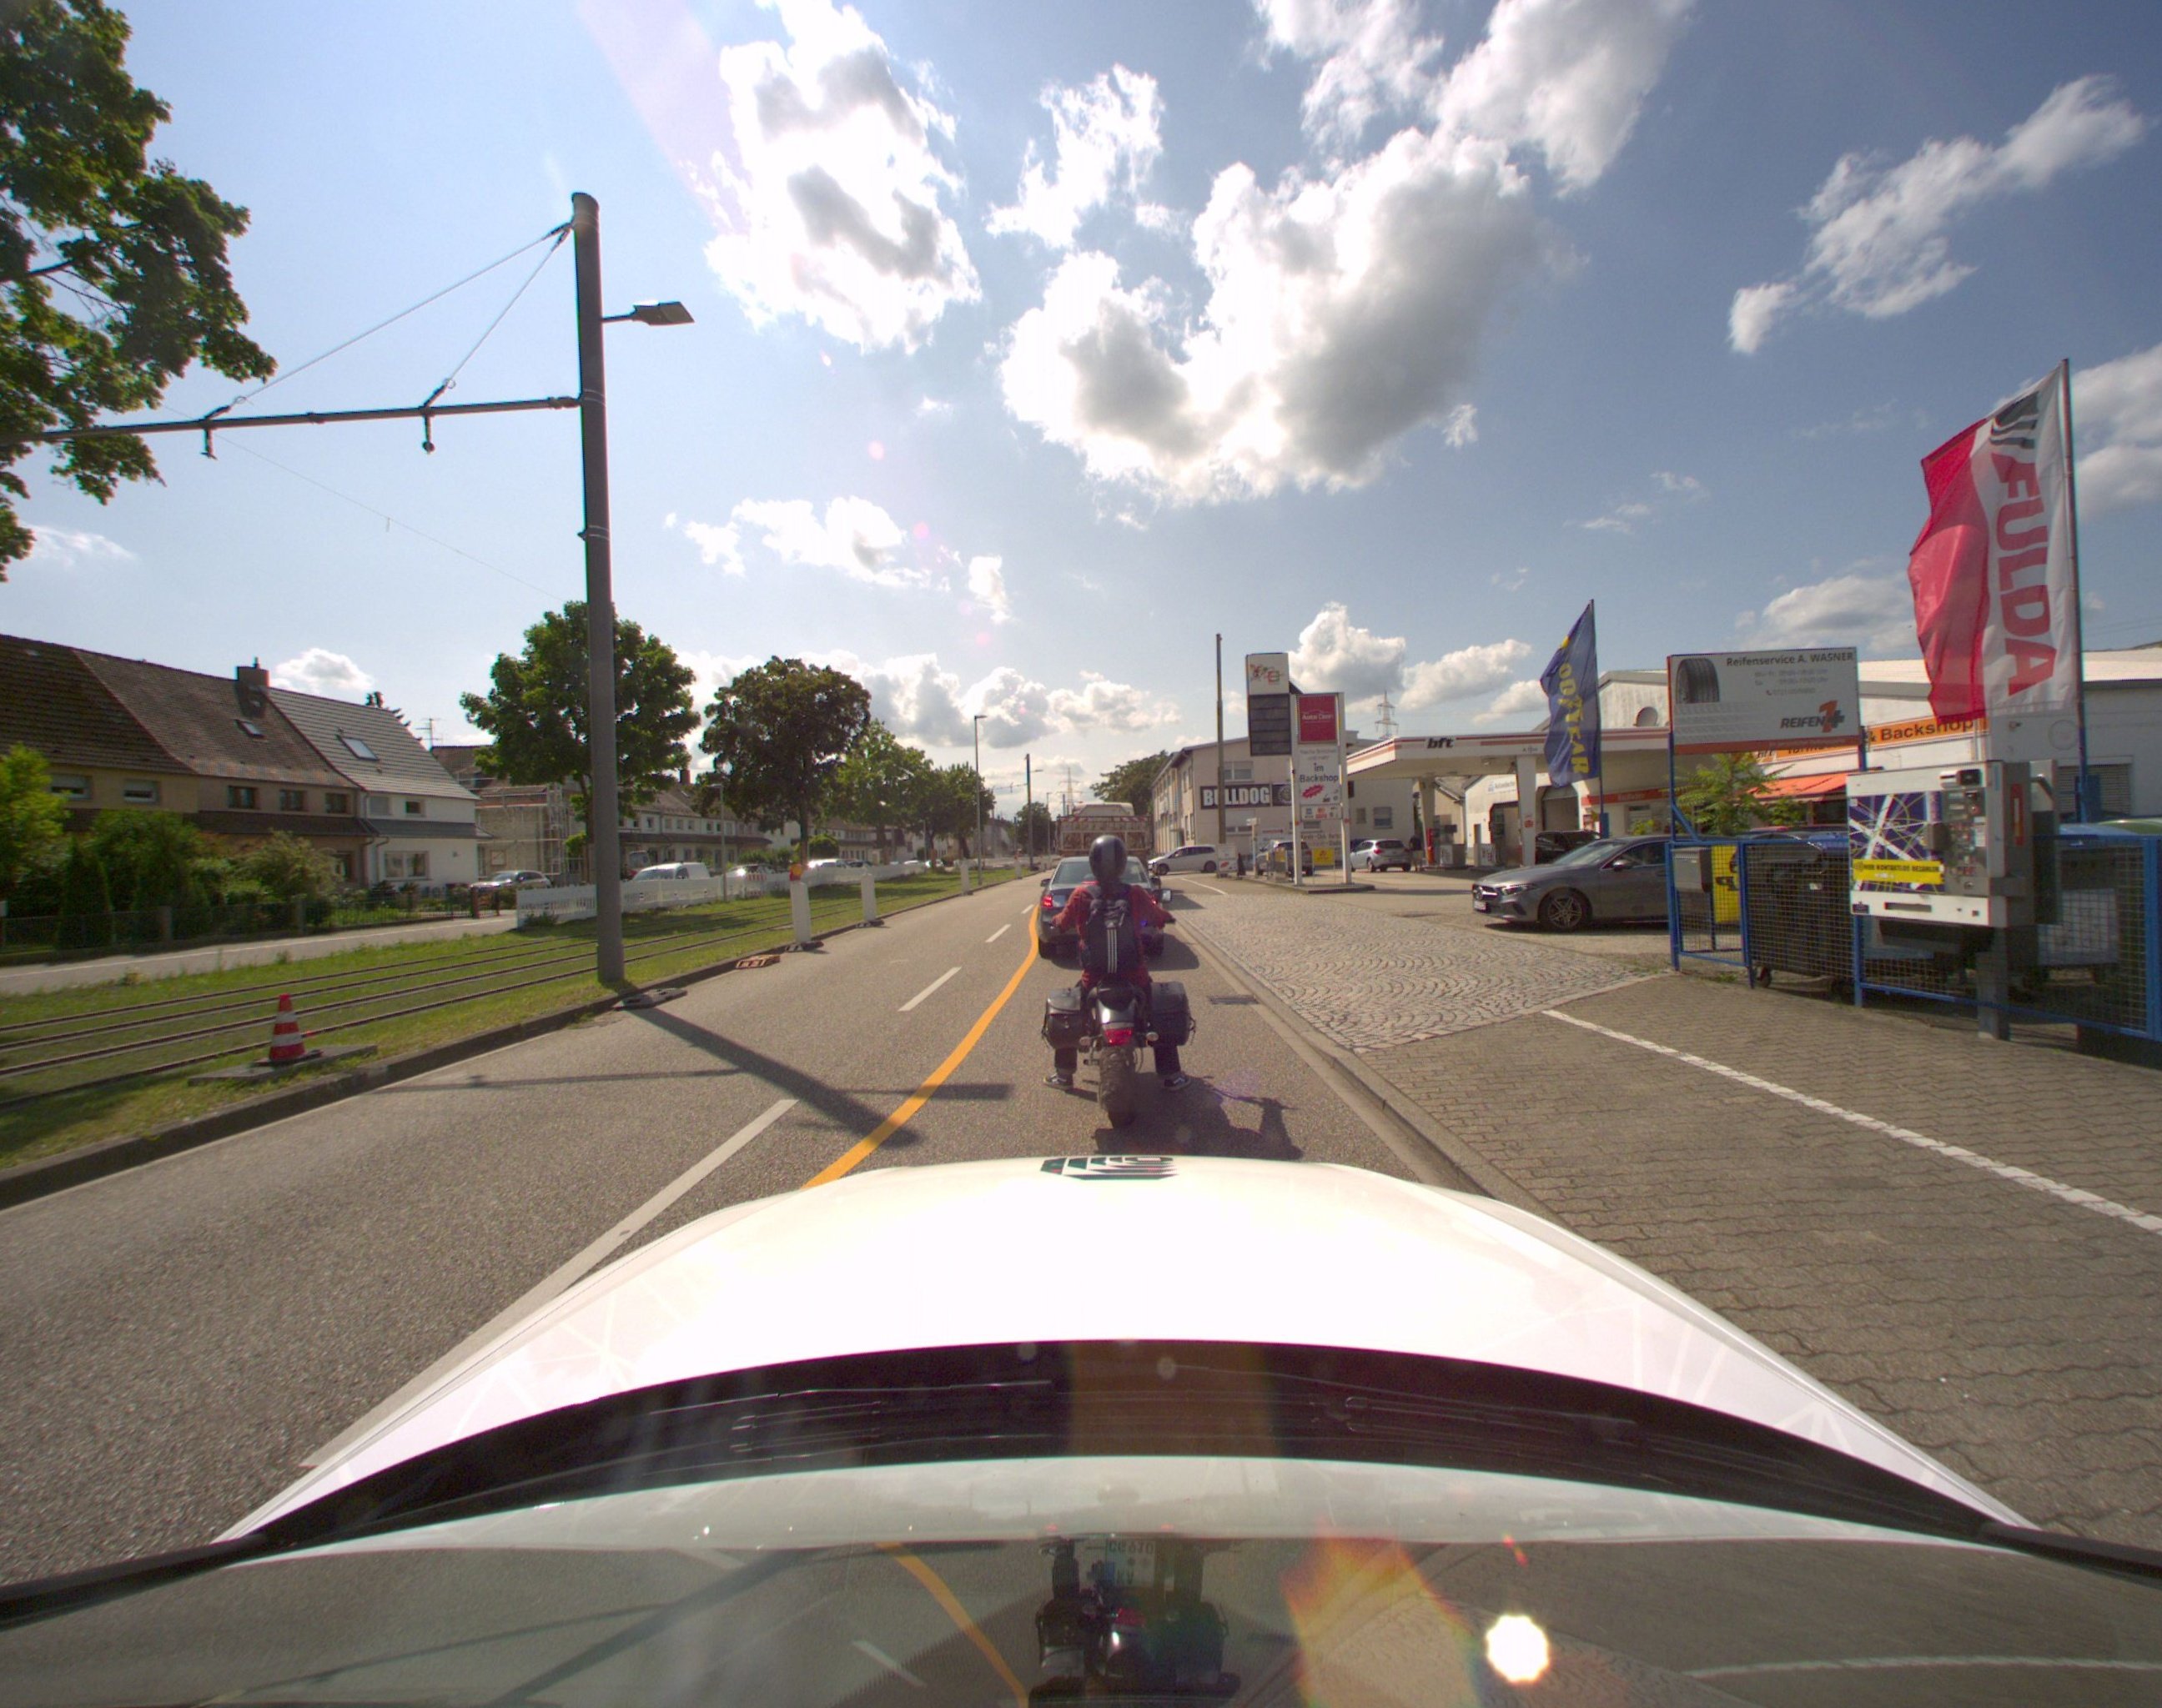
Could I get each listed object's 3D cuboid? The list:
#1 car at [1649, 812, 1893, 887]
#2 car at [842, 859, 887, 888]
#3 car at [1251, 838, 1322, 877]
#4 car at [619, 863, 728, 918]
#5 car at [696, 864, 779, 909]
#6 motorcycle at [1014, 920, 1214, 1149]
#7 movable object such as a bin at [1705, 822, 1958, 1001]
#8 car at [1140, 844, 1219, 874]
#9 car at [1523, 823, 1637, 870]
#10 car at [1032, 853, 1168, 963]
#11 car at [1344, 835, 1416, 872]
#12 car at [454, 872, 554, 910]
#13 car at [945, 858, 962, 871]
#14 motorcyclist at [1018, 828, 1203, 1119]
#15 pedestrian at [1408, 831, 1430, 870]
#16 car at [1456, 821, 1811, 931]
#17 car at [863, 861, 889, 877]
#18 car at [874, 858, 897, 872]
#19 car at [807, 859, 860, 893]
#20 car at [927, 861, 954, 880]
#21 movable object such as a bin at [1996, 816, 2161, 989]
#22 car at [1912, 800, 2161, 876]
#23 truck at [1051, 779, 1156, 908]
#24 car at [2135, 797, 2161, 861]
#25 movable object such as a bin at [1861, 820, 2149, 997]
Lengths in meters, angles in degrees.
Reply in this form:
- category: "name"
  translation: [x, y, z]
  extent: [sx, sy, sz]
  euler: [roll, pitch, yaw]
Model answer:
- category: "car"
  translation: [15.773, -0.100, 18.766]
  extent: [4.180, 1.463, 1.587]
  euler: [-2, 0, 2]
- category: "car"
  translation: [-14.815, 1.322, 56.040]
  extent: [1.769, 1.805, 4.130]
  euler: [-2, 0, 2]
- category: "car"
  translation: [9.111, 0.135, 36.460]
  extent: [1.665, 1.562, 4.235]
  euler: [-2, 0, -6]
- category: "car"
  translation: [-15.440, 1.311, 31.157]
  extent: [1.769, 1.821, 4.366]
  euler: [-2, 0, 2]
- category: "car"
  translation: [-15.413, 1.391, 36.800]
  extent: [1.769, 1.774, 4.230]
  euler: [-2, 0, 2]
- category: "motorcycle"
  translation: [0.207, 1.023, 5.450]
  extent: [0.975, 0.897, 2.654]
  euler: [-2, 0, 2]
- category: "movable object such as a bin"
  translation: [6.691, 0.473, 7.365]
  extent: [1.104, 1.436, 1.244]
  euler: [-2, 0, 1]
- category: "car"
  translation: [5.649, 0.275, 47.073]
  extent: [4.225, 1.543, 1.669]
  euler: [-3, 0, -7]
- category: "car"
  translation: [18.115, -0.263, 29.794]
  extent: [1.800, 1.503, 3.833]
  euler: [-2, 0, 0]
- category: "car"
  translation: [0.315, 0.731, 12.945]
  extent: [1.816, 1.452, 4.002]
  euler: [0, 0, 2]
- category: "car"
  translation: [13.471, -0.025, 36.928]
  extent: [1.800, 1.503, 3.832]
  euler: [-2, 0, -1]
- category: "car"
  translation: [-27.443, 1.723, 38.893]
  extent: [1.769, 1.519, 4.002]
  euler: [-2, 0, 2]
- category: "car"
  translation: [-19.661, 1.601, 125.917]
  extent: [1.769, 1.722, 4.130]
  euler: [-2, 0, 2]
- category: "motorcyclist"
  translation: [0.182, 0.674, 5.146]
  extent: [0.975, 1.602, 1.088]
  euler: [-2, 0, 1]
- category: "pedestrian"
  translation: [14.647, -0.148, 35.327]
  extent: [0.701, 1.656, 0.551]
  euler: [-2, 0, 37]
- category: "car"
  translation: [8.342, 0.324, 12.617]
  extent: [4.252, 1.415, 1.676]
  euler: [-2, 0, 5]
- category: "car"
  translation: [-24.409, 1.816, 97.041]
  extent: [1.769, 1.722, 4.130]
  euler: [-2, 0, 2]
- category: "car"
  translation: [-25.183, 1.376, 105.202]
  extent: [1.769, 1.722, 4.130]
  euler: [-2, 0, 2]
- category: "car"
  translation: [-15.073, 1.317, 49.862]
  extent: [1.769, 1.867, 4.130]
  euler: [-2, 0, 2]
- category: "car"
  translation: [-13.763, 1.613, 79.996]
  extent: [1.769, 1.722, 4.130]
  euler: [-2, 0, 2]
- category: "movable object such as a bin"
  translation: [9.488, 0.368, 7.138]
  extent: [1.397, 1.396, 1.338]
  euler: [-2, 0, 1]
- category: "car"
  translation: [21.521, -0.354, 18.175]
  extent: [4.180, 1.463, 1.587]
  euler: [-2, 0, 2]
- category: "truck"
  translation: [0.724, -0.297, 25.505]
  extent: [2.628, 3.296, 8.059]
  euler: [-2, 0, 2]
- category: "car"
  translation: [26.525, -0.652, 18.013]
  extent: [4.180, 1.463, 1.587]
  euler: [-2, 0, 2]
- category: "movable object such as a bin"
  translation: [8.085, 0.439, 7.226]
  extent: [1.104, 1.396, 1.244]
  euler: [-2, 0, 1]
